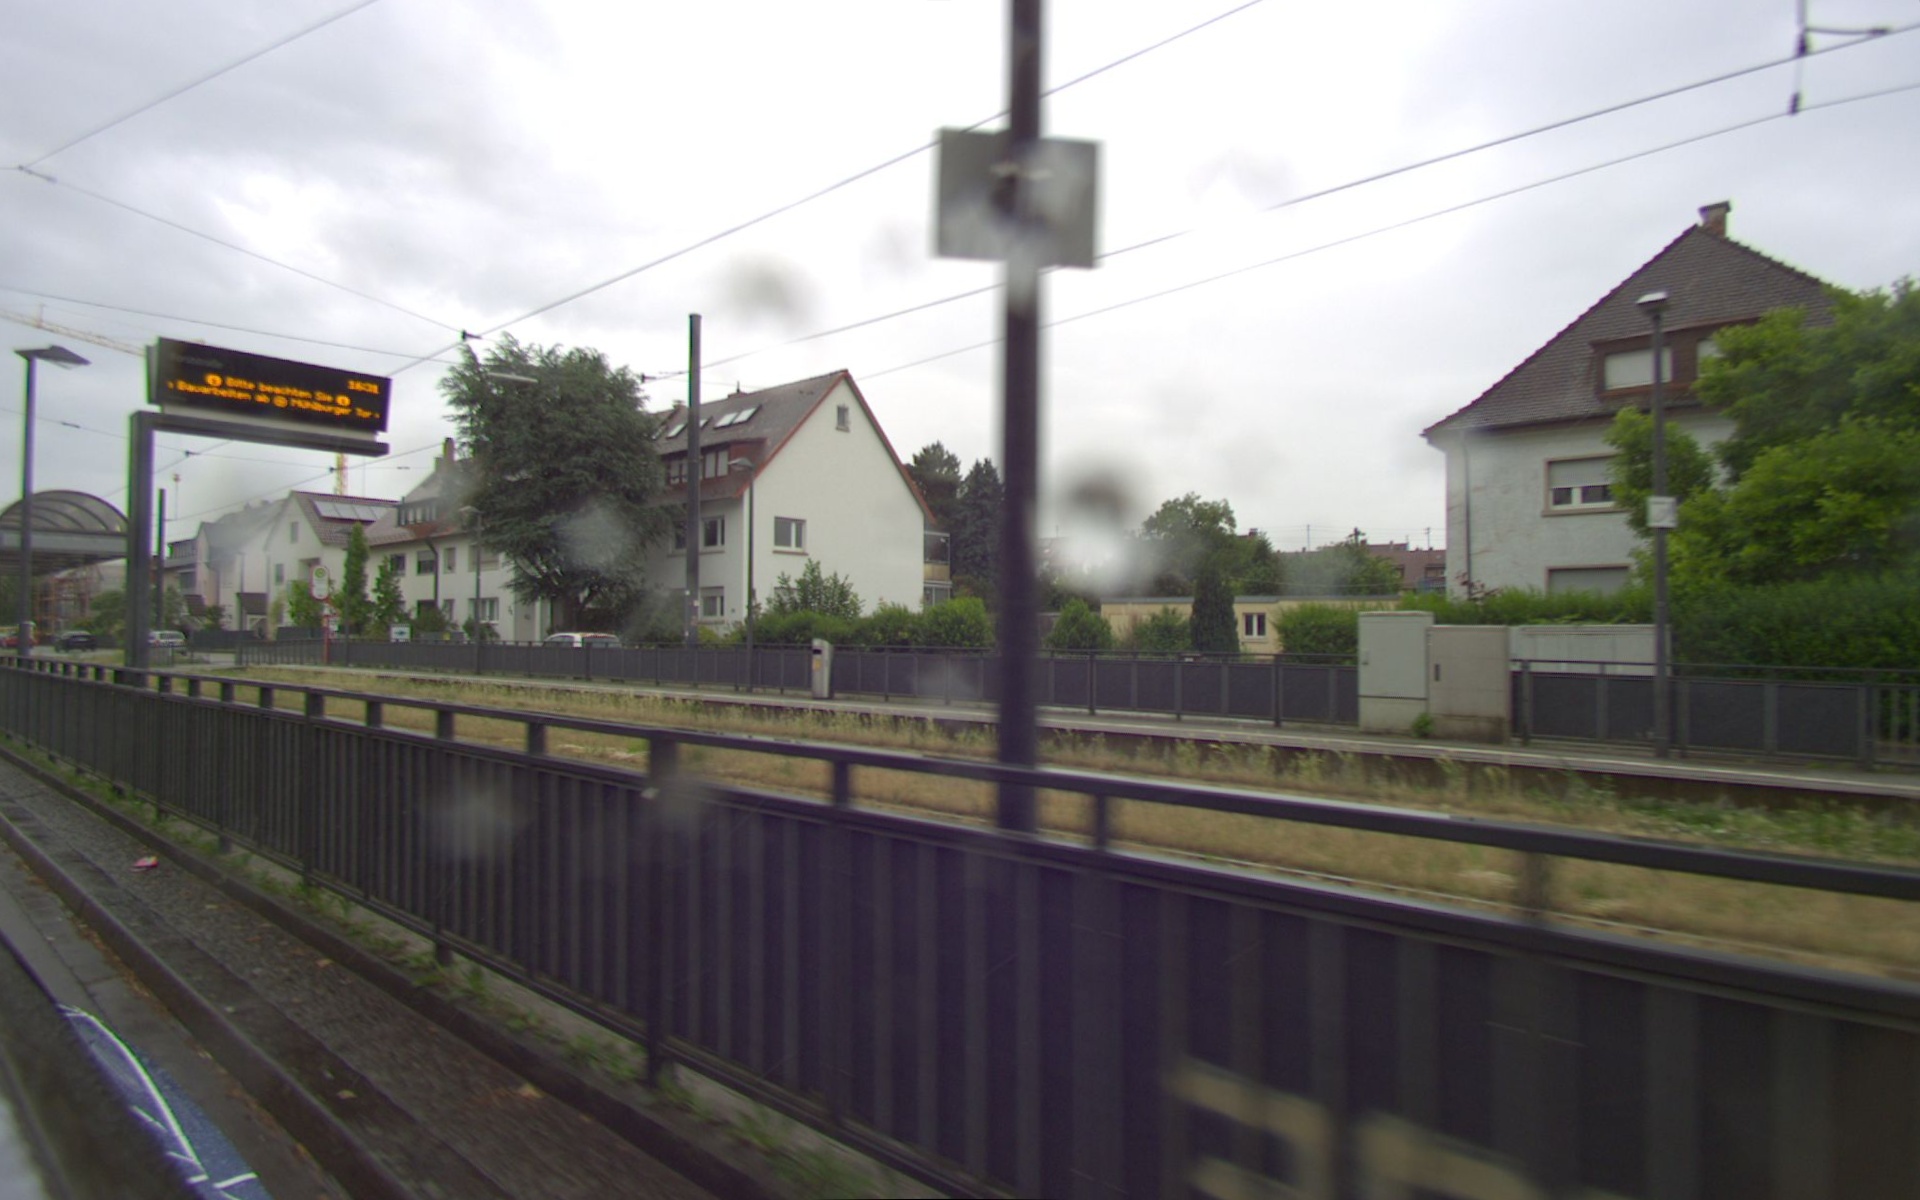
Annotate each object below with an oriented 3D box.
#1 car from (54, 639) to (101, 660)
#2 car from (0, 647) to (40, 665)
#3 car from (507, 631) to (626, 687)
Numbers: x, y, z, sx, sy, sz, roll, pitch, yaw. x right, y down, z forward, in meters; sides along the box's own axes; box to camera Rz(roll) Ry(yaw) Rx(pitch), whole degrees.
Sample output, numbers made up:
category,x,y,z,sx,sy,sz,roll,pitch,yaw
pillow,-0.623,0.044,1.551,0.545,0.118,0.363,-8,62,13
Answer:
category,x,y,z,sx,sy,sz,roll,pitch,yaw
car,-64.380,3.610,73.803,4.167,1.437,1.820,-3,-2,37
car,-80.795,4.827,86.893,3.837,1.383,1.975,-1,-1,37
car,-11.618,1.678,29.758,3.998,1.504,1.616,-1,-1,42
